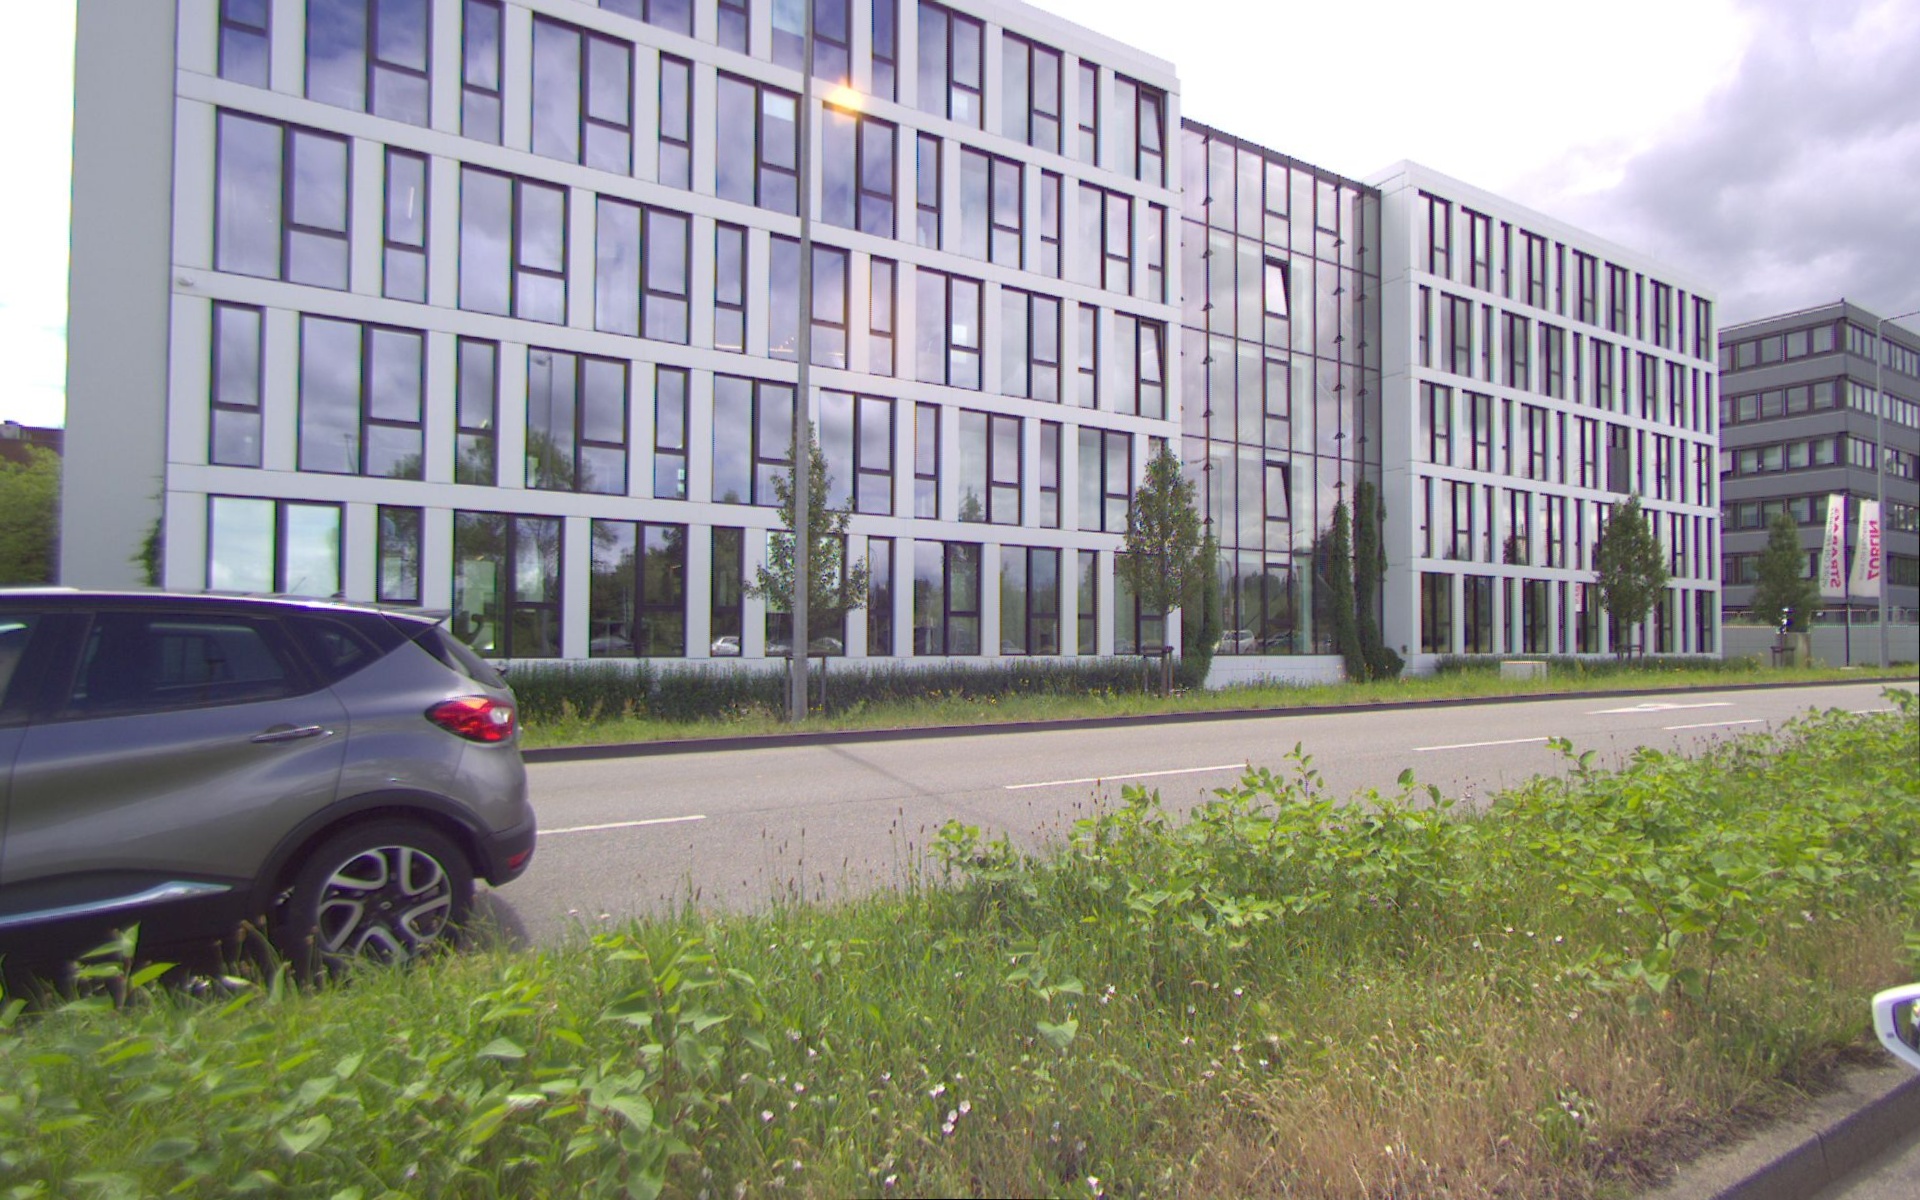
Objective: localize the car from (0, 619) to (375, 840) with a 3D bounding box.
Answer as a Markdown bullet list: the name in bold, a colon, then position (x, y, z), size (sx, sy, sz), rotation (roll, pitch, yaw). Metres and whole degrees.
- **car**: position (-6.459, 0.823, 7.131), size (3.953, 1.372, 1.984), rotation (1, -1, -30)

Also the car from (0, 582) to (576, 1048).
- **car**: position (-3.817, 0.720, 4.040), size (3.957, 1.537, 1.924), rotation (1, -1, -33)
